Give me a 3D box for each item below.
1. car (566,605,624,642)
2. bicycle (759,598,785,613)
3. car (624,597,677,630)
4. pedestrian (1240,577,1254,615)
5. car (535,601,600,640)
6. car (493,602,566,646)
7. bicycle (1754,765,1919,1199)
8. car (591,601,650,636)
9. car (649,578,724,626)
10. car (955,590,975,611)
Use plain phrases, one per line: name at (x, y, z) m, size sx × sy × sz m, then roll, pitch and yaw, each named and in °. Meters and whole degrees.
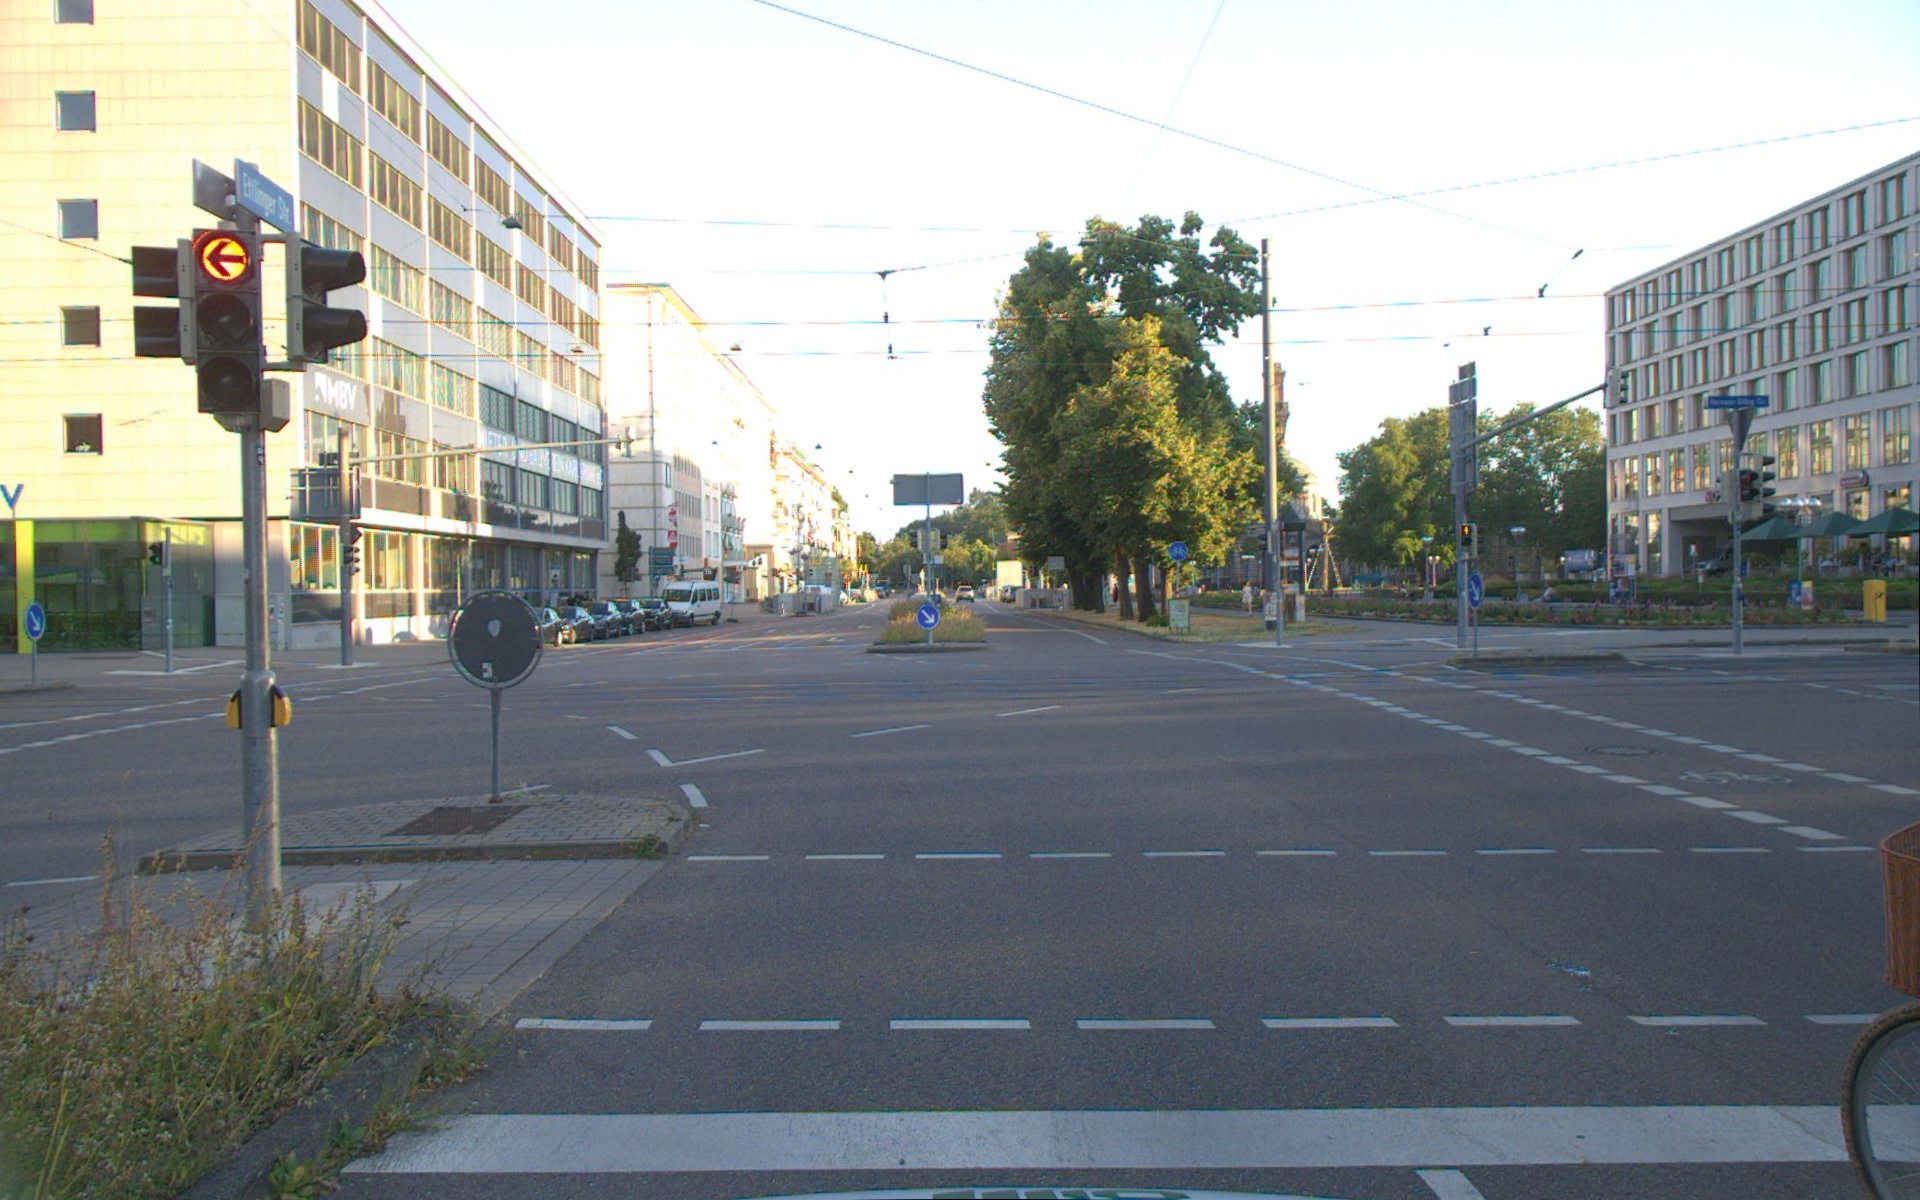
car at (-16.088, 1.057, 73.027) m, size 1.760 × 1.501 × 3.998 m, roll -1°, pitch -2°, yaw -1°
bicycle at (-14.616, 0.442, 128.532) m, size 1.959 × 1.111 × 0.324 m, roll -1°, pitch 0°, yaw -10°
car at (-15.793, 0.705, 84.618) m, size 1.759 × 1.501 × 4.001 m, roll -1°, pitch -2°, yaw 3°
pedestrian at (13.025, -0.175, 75.156) m, size 0.498 × 1.697 × 0.531 m, roll -1°, pitch 0°, yaw -2°
car at (-16.120, 0.872, 68.098) m, size 1.760 × 1.501 × 3.998 m, roll -1°, pitch -2°, yaw -1°
car at (-16.008, 0.920, 61.666) m, size 1.760 × 1.501 × 3.998 m, roll -1°, pitch -2°, yaw -1°
bicycle at (2.138, 0.929, 2.748) m, size 0.624 × 1.087 × 2.069 m, roll 0°, pitch 0°, yaw -1°
car at (-16.039, 0.885, 78.213) m, size 1.758 × 1.501 × 4.001 m, roll -1°, pitch -2°, yaw 3°
car at (-15.001, 0.140, 91.226) m, size 2.130 × 2.427 × 5.994 m, roll -2°, pitch -2°, yaw 11°
car at (0.505, -0.001, 168.192) m, size 1.953 × 2.049 × 3.999 m, roll -1°, pitch 0°, yaw -2°
